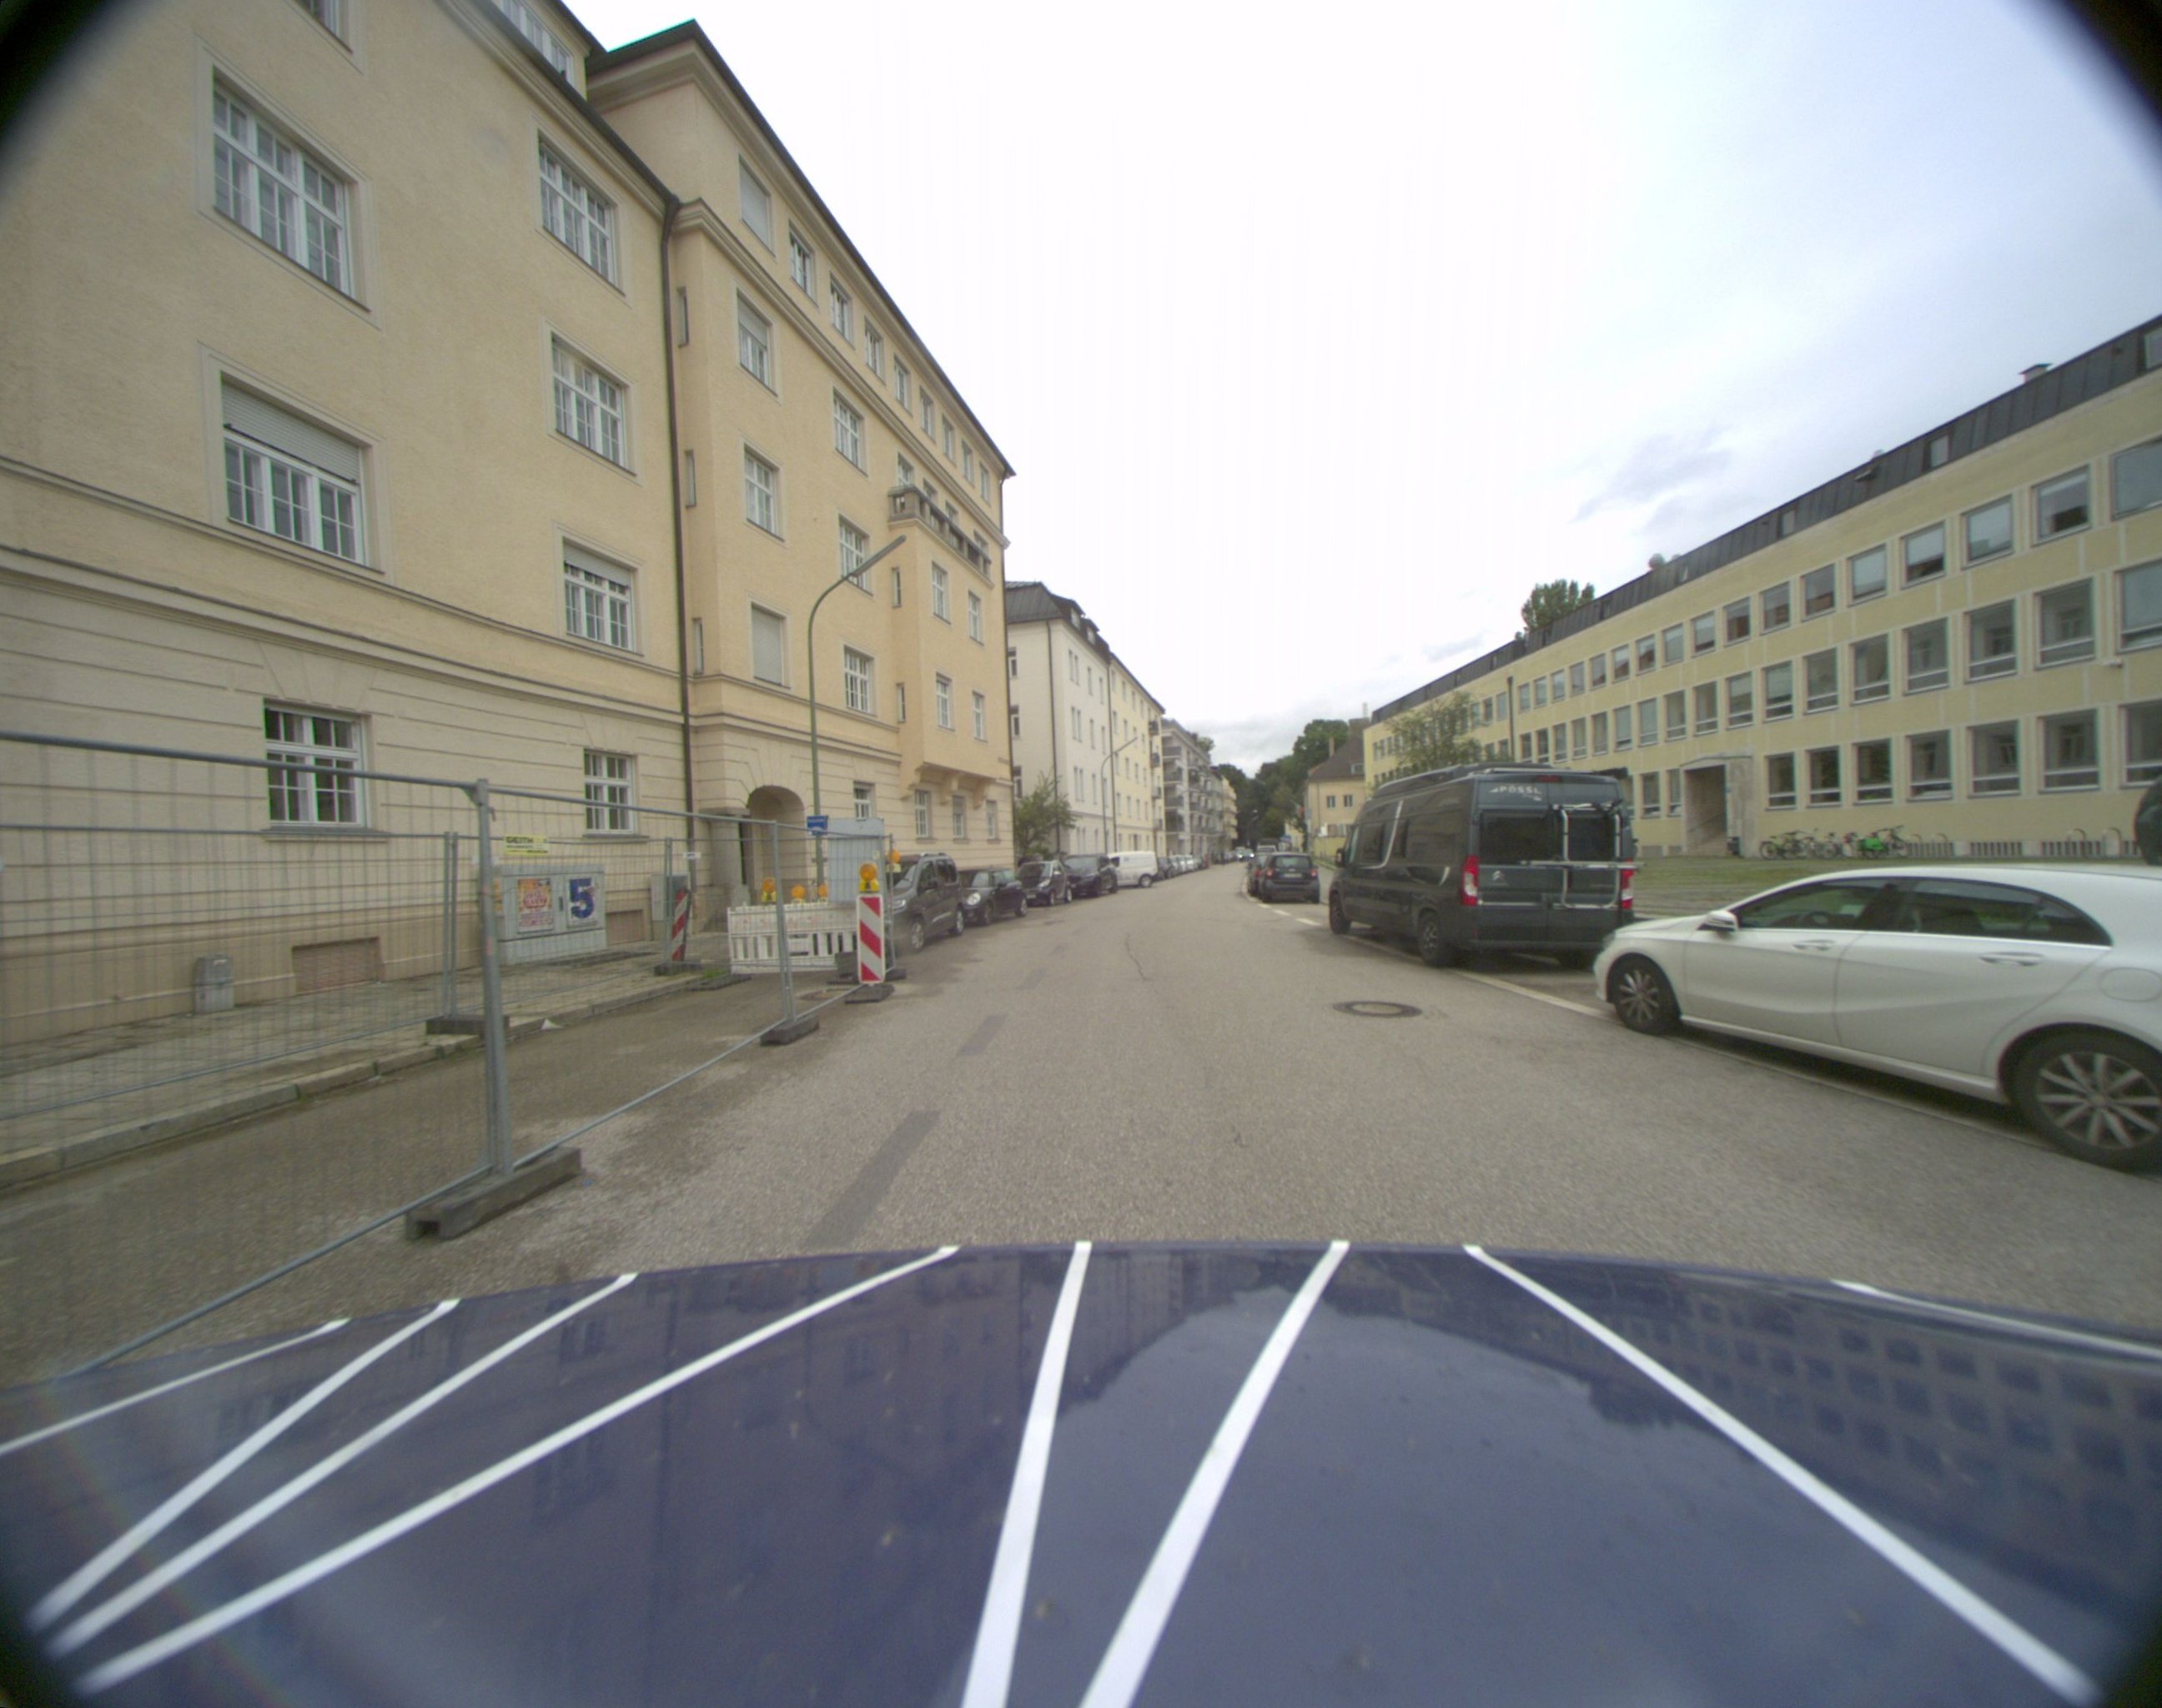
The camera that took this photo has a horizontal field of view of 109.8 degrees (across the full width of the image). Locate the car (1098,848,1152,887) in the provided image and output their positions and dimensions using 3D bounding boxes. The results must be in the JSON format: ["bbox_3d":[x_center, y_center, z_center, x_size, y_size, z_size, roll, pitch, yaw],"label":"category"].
[{"bbox_3d":[2.321,0.645,39.028,1.780,1.720,4.394,-4,0,15],"label":"car"}]

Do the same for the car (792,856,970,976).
[{"bbox_3d":[-3.569,1.019,14.467,1.840,1.788,4.239,-4,0,5],"label":"car"}]

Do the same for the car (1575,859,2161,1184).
[{"bbox_3d":[5.531,0.758,4.890,1.832,1.379,4.140,1,0,-3],"label":"car"}]

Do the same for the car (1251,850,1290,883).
[{"bbox_3d":[9.341,0.573,37.623,1.724,1.473,4.208,-1,1,12],"label":"car"}]

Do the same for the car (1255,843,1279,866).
[{"bbox_3d":[16.400,0.013,67.028,1.947,1.965,4.358,-1,1,12],"label":"car"}]

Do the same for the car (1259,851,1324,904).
[{"bbox_3d":[6.317,0.662,23.044,1.669,1.451,2.870,0,1,10],"label":"car"}]

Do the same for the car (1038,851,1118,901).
[{"bbox_3d":[0.000,0.818,30.440,1.930,1.719,4.692,-4,-1,15],"label":"car"}]

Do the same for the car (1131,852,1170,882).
[{"bbox_3d":[4.368,0.801,47.353,1.780,1.582,3.705,-4,0,15],"label":"car"}]

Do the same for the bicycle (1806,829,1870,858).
[{"bbox_3d":[27.784,-0.372,27.900,1.906,0.911,0.438,-4,1,-1],"label":"bicycle"}]

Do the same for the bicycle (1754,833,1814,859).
[{"bbox_3d":[27.733,-0.317,29.986,1.906,0.911,0.438,-4,1,-1],"label":"bicycle"}]

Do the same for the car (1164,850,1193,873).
[{"bbox_3d":[7.813,0.588,60.776,1.780,1.582,3.705,-4,0,15],"label":"car"}]

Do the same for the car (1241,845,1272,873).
[{"bbox_3d":[11.146,0.287,48.266,1.743,1.536,4.086,-4,0,13],"label":"car"}]

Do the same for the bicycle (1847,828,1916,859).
[{"bbox_3d":[27.770,-0.365,26.368,1.906,0.911,0.438,-4,1,-1],"label":"bicycle"}]

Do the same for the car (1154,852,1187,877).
[{"bbox_3d":[6.588,0.712,55.520,1.780,1.582,3.705,-4,0,15],"label":"car"}]

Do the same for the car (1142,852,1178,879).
[{"bbox_3d":[5.391,0.736,51.212,1.780,1.582,3.705,-4,0,15],"label":"car"}]

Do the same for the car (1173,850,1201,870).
[{"bbox_3d":[9.153,0.522,65.418,1.839,1.450,4.026,-4,0,14],"label":"car"}]

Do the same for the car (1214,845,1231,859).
[{"bbox_3d":[18.315,-0.282,98.246,1.637,1.726,3.883,-4,0,15],"label":"car"}]

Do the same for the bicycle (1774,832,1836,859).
[{"bbox_3d":[27.743,-0.330,29.130,1.906,0.911,0.438,-4,1,-1],"label":"bicycle"}]

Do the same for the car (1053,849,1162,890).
[{"bbox_3d":[1.266,0.707,36.969,4.926,1.762,1.883,-2,1,-12],"label":"car"}]

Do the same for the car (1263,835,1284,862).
[{"bbox_3d":[20.276,-0.658,79.831,1.996,2.702,4.964,-1,1,15],"label":"car"}]

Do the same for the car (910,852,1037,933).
[{"bbox_3d":[-2.673,0.913,19.760,1.839,1.720,3.733,-4,0,15],"label":"car"}]

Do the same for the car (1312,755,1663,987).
[{"bbox_3d":[5.511,0.171,11.631,2.149,2.559,6.211,-1,1,1],"label":"car"}]

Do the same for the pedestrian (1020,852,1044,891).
[{"bbox_3d":[-2.274,0.808,35.387,0.694,1.750,0.684,-5,1,-44],"label":"pedestrian"}]

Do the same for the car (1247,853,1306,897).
[{"bbox_3d":[6.920,0.681,27.205,1.724,1.356,4.215,0,1,10],"label":"car"}]

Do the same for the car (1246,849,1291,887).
[{"bbox_3d":[7.925,0.567,32.428,1.724,1.473,3.757,-1,1,12],"label":"car"}]

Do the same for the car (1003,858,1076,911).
[{"bbox_3d":[-1.368,1.001,25.942,1.510,1.548,2.865,-4,1,17],"label":"car"}]

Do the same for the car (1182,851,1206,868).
[{"bbox_3d":[10.485,0.498,70.368,1.741,1.367,4.026,-4,0,14],"label":"car"}]
